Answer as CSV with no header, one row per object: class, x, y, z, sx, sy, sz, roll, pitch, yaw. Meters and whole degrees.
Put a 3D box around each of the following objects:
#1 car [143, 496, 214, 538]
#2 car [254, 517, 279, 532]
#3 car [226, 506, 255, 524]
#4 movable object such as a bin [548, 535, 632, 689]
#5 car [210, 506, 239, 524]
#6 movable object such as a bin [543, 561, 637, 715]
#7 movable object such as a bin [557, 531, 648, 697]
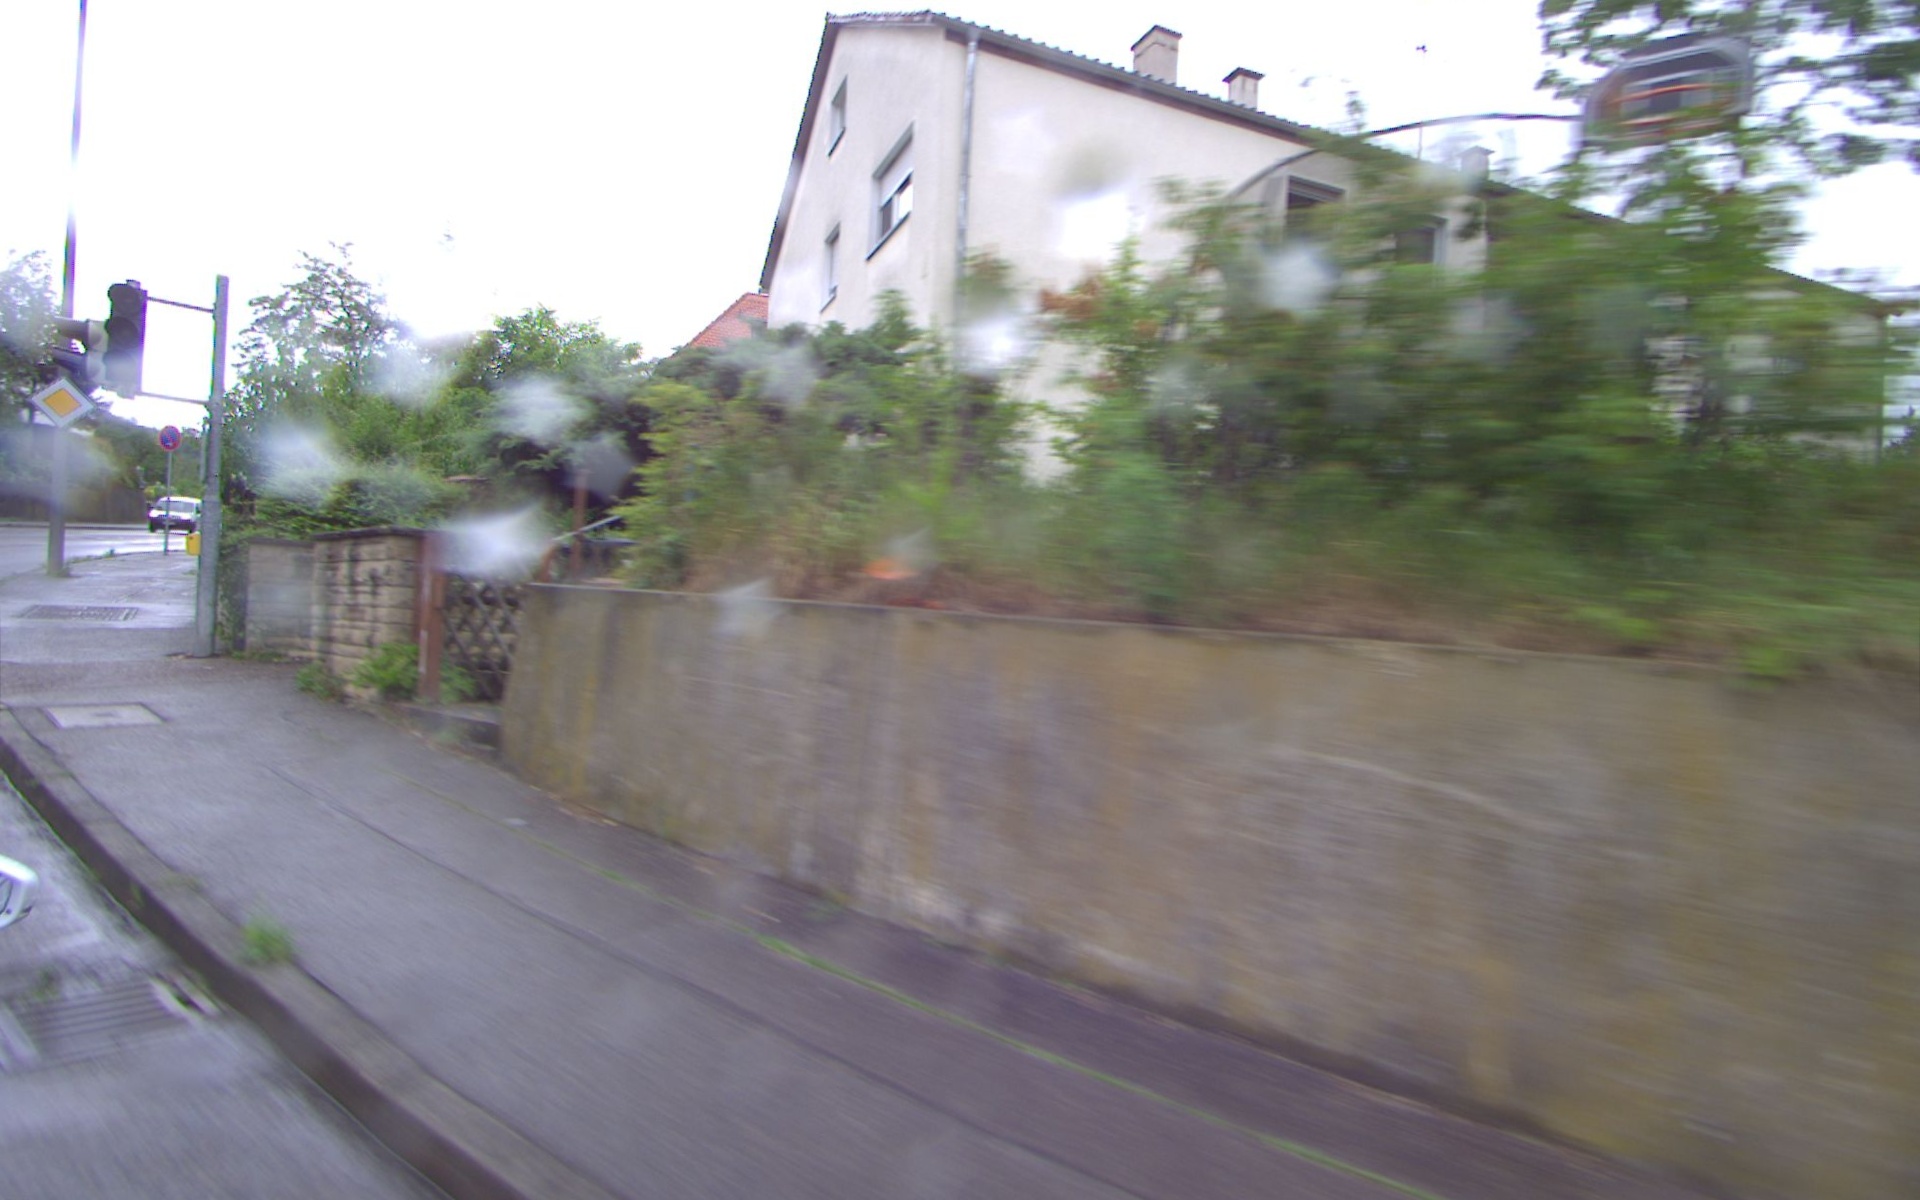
car,-39.147,-4.105,50.497,1.823,1.778,4.390,6,1,-27
car,-75.765,-8.226,109.864,1.537,1.341,3.951,11,-5,-44
car,-83.797,-9.865,117.155,3.941,1.740,1.646,5,-2,38
movable object such as a bin,-3.164,0.115,8.598,0.601,1.260,0.513,2,-1,-24
car,-88.337,-10.216,120.760,3.941,1.740,1.646,5,-2,38
movable object such as a bin,-2.458,0.253,6.719,0.460,0.947,0.480,7,-1,-17
movable object such as a bin,-2.874,0.124,8.070,0.601,1.260,0.599,2,-1,-24
